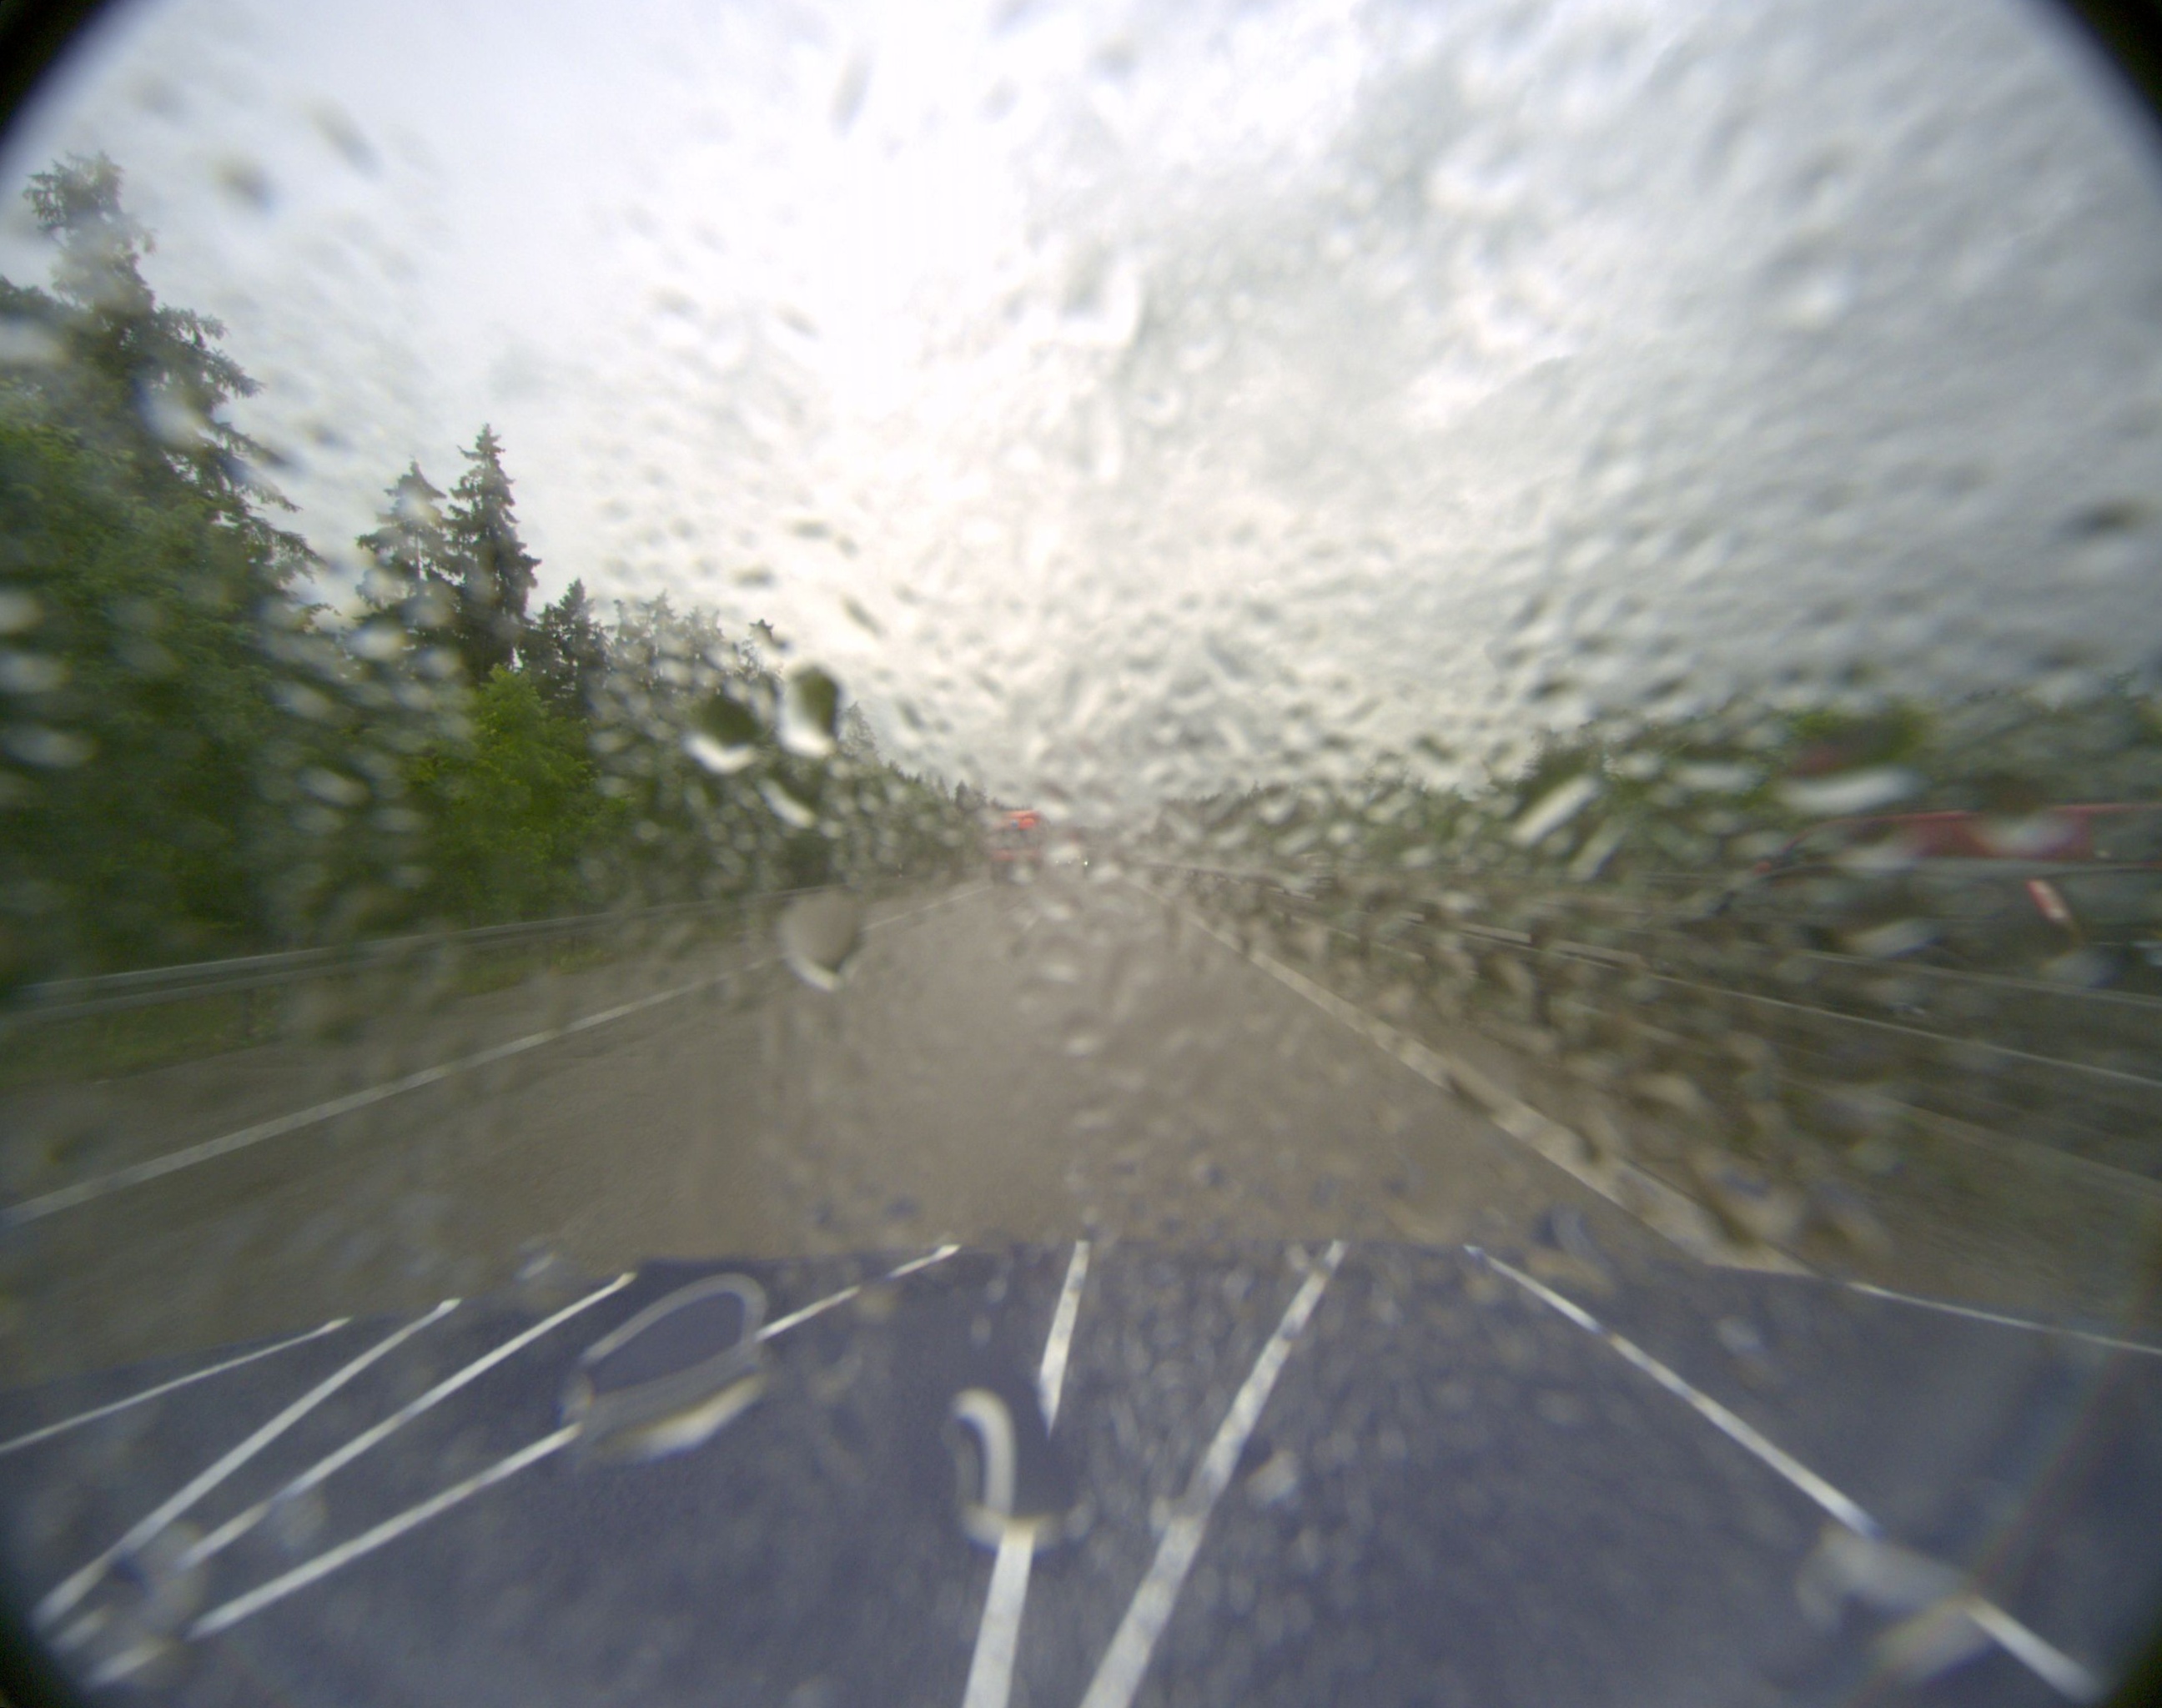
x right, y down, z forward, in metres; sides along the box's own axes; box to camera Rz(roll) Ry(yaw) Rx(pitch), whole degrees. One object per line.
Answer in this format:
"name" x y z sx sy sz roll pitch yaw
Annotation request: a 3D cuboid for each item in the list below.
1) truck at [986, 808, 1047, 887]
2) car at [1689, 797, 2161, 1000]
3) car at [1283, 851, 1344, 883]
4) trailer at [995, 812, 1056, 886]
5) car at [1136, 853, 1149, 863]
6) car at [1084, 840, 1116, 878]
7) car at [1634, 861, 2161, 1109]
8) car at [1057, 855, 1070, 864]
"truck" -3.441 -0.332 41.978 2.766 4.064 5.437 1 0 1
"car" 11.438 0.470 10.374 1.998 2.052 5.313 1 0 0
"car" 11.216 0.592 36.951 1.754 1.427 3.918 1 0 0
"trailer" -3.364 -0.276 49.634 2.801 4.132 13.005 1 0 1
"car" 9.178 0.588 113.832 1.523 1.395 3.931 1 0 0
"car" 1.107 0.298 45.536 1.795 2.113 4.524 1 0 1
"car" 7.580 0.831 6.753 1.998 1.474 4.557 1 0 0
"car" -2.269 0.679 99.047 1.496 1.188 3.669 1 0 1
